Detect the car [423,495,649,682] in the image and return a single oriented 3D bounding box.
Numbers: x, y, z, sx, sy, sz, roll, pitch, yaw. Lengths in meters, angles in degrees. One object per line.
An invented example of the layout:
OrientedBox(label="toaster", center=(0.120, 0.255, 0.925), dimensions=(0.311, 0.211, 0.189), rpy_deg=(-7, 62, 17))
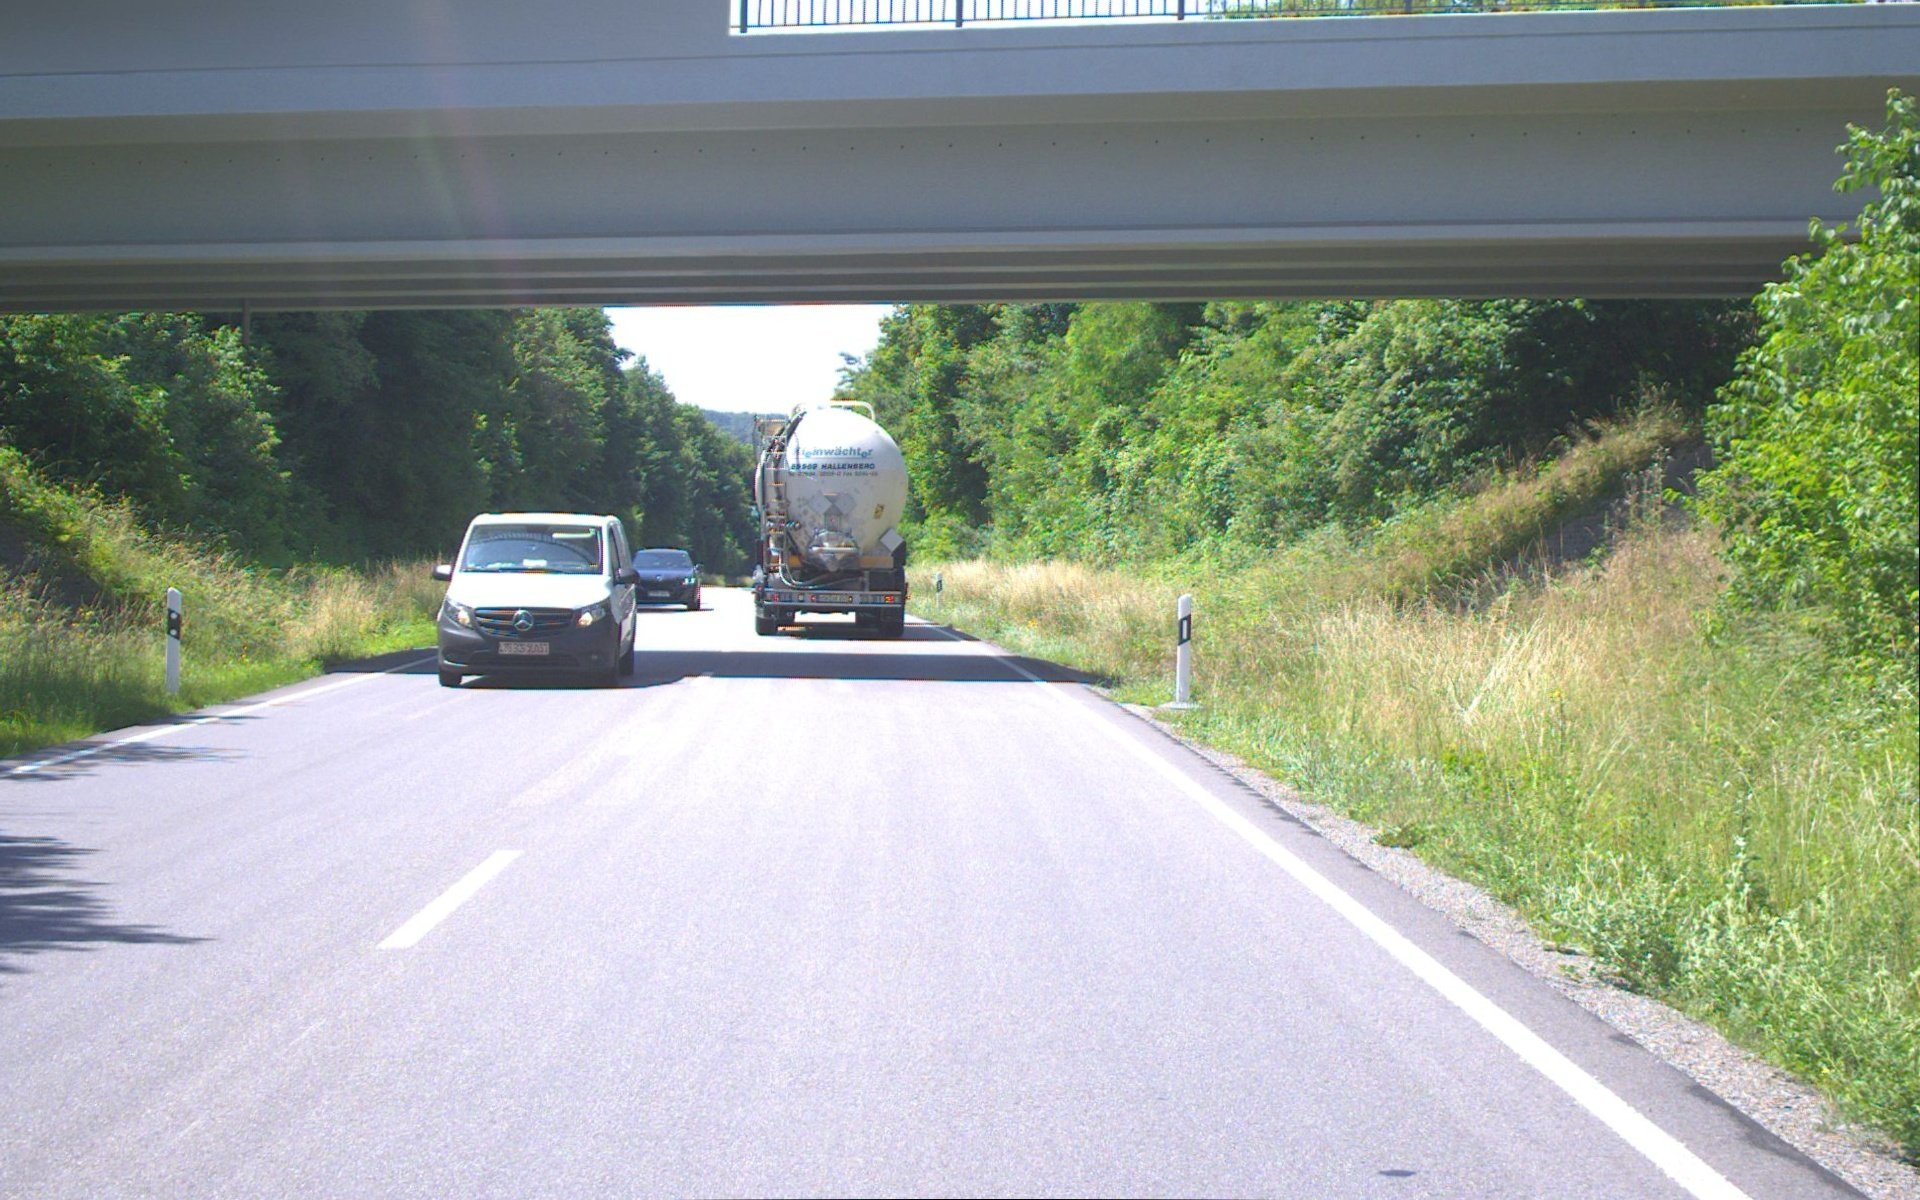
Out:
OrientedBox(label="car", center=(-4.608, -0.166, 38.049), dimensions=(1.931, 1.899, 5.328), rpy_deg=(1, 1, -1))

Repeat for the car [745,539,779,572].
OrientedBox(label="car", center=(-12.156, -2.750, 210.970), dimensions=(1.993, 2.007, 4.001), rpy_deg=(1, 1, -4))

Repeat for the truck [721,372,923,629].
OrientedBox(label="truck", center=(-2.607, -1.612, 63.299), dimensions=(3.049, 3.985, 15.638), rpy_deg=(3, 0, -3))

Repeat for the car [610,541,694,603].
OrientedBox(label="car", center=(-7.718, -0.716, 86.498), dimensions=(1.859, 1.500, 4.587), rpy_deg=(0, 1, -2))
